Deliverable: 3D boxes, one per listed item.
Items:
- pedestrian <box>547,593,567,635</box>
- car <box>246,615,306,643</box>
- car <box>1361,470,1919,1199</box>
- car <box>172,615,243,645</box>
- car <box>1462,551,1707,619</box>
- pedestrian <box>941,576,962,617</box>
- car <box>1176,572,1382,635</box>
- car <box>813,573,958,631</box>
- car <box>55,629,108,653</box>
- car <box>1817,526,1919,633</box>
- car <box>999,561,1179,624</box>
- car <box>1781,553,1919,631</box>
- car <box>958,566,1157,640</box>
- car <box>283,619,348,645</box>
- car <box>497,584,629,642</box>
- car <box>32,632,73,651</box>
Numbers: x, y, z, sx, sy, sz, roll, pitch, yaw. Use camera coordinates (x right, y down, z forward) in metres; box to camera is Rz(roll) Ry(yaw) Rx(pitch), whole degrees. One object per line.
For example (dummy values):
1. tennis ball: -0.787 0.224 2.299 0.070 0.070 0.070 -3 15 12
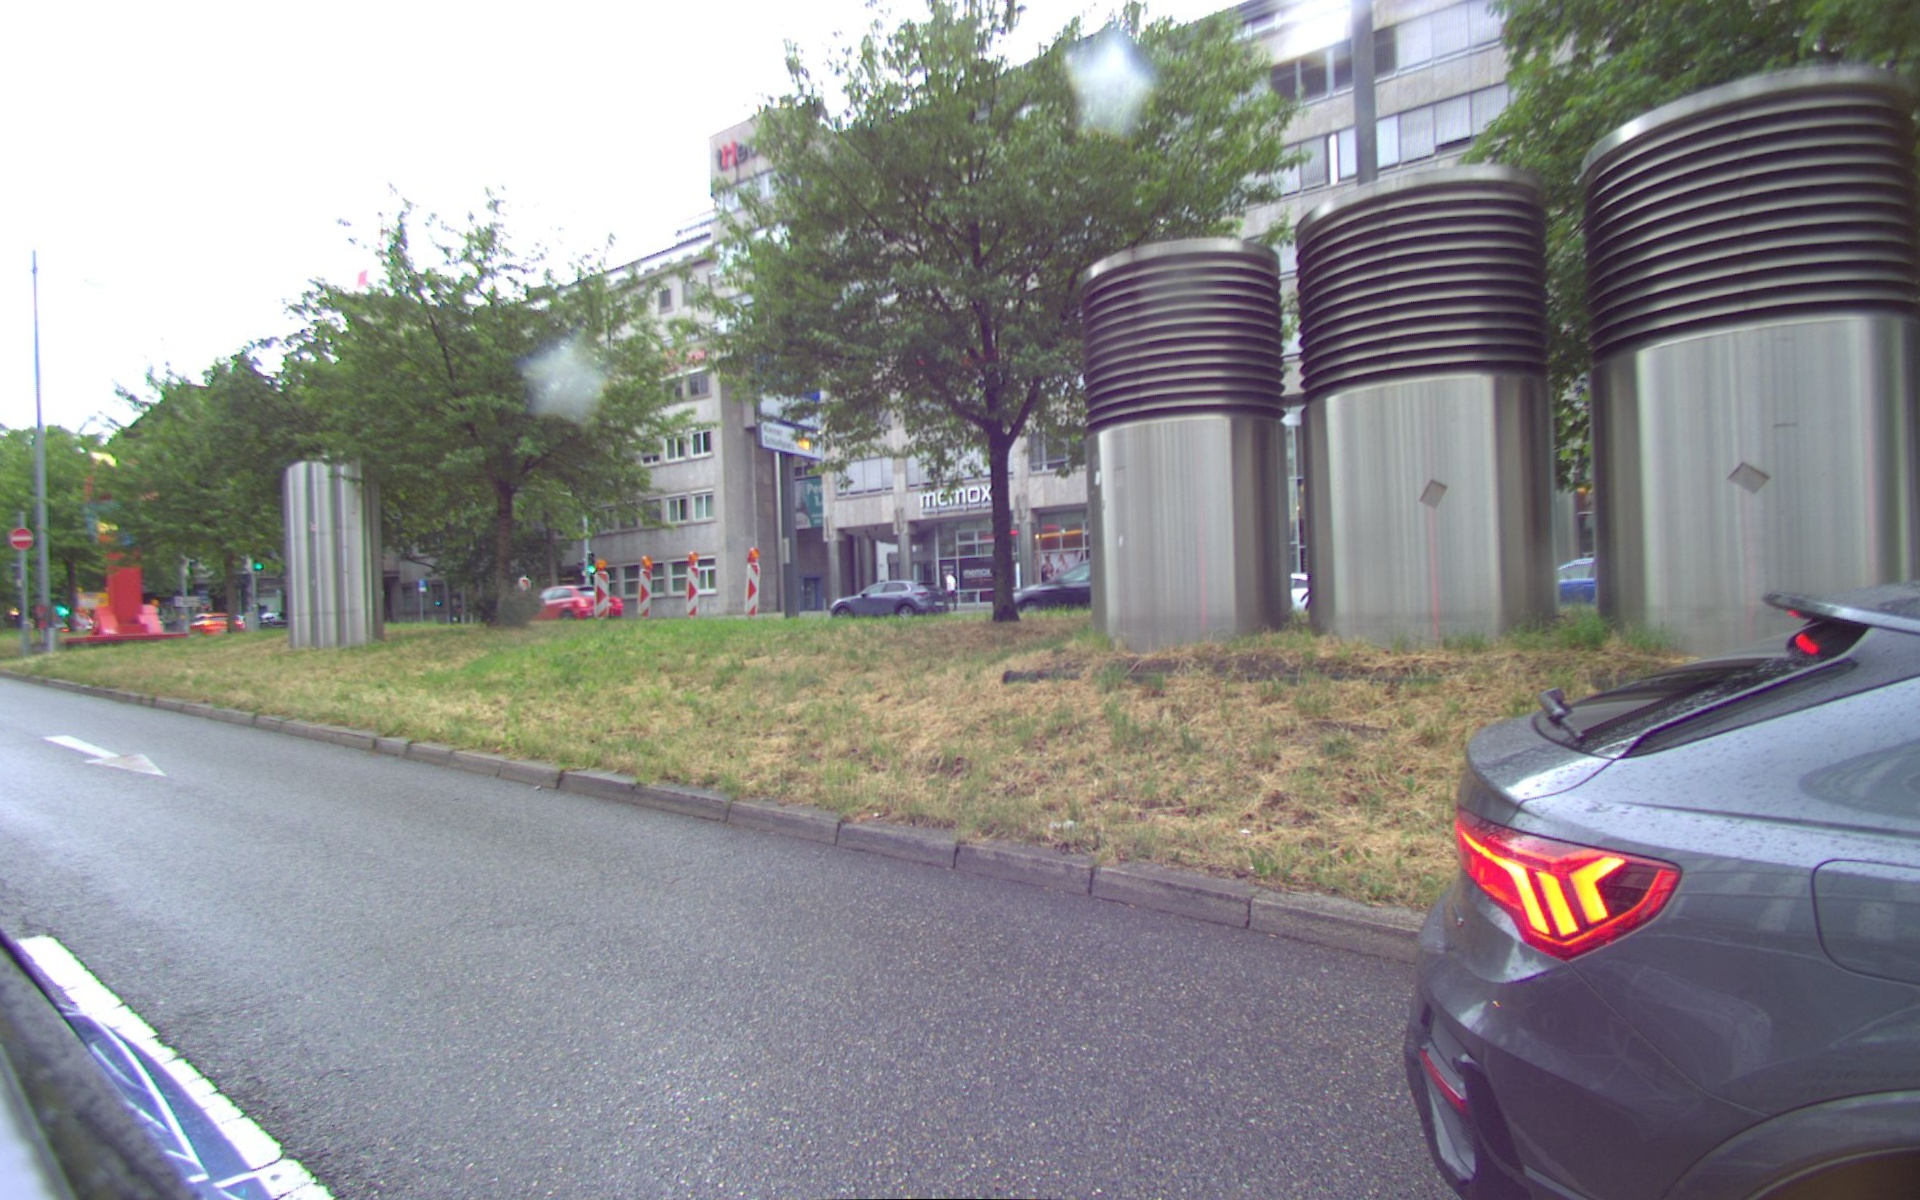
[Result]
1. pedestrian: -18.004 0.625 45.201 0.721 1.801 0.522 -2 0 42
2. car: -42.902 1.839 63.472 4.461 1.634 1.844 -2 -1 38
3. car: 2.823 0.600 0.858 4.246 1.628 1.830 -2 0 38
4. car: -38.542 1.532 51.810 4.125 1.440 1.845 -2 -1 37
5. car: 13.839 -0.303 22.617 4.465 1.335 1.876 -2 0 34
6. pedestrian: -0.392 -0.144 45.121 0.528 1.801 0.712 -2 0 38
7. car: 8.052 0.120 25.791 4.677 1.412 1.759 -2 -1 38
8. car: -2.522 0.093 33.662 4.785 1.739 1.844 -2 -1 38
9. car: -56.526 2.649 65.117 4.561 1.440 1.843 -2 -1 40
10. car: 14.953 -0.334 14.222 4.180 1.486 1.805 -2 0 33
11. car: 3.634 -0.191 29.048 4.906 1.634 1.759 -1 2 38
12. car: 18.484 -0.174 19.476 4.007 1.412 1.760 -2 -1 36
13. car: 2.137 0.085 22.446 3.987 1.486 1.853 -2 0 33
14. car: -38.583 1.906 60.550 4.559 1.440 1.844 -2 -1 38
15. car: -12.659 0.431 32.224 3.987 1.713 1.930 -2 0 33
16. car: -69.210 3.174 77.184 3.996 1.425 1.771 -2 -2 40
